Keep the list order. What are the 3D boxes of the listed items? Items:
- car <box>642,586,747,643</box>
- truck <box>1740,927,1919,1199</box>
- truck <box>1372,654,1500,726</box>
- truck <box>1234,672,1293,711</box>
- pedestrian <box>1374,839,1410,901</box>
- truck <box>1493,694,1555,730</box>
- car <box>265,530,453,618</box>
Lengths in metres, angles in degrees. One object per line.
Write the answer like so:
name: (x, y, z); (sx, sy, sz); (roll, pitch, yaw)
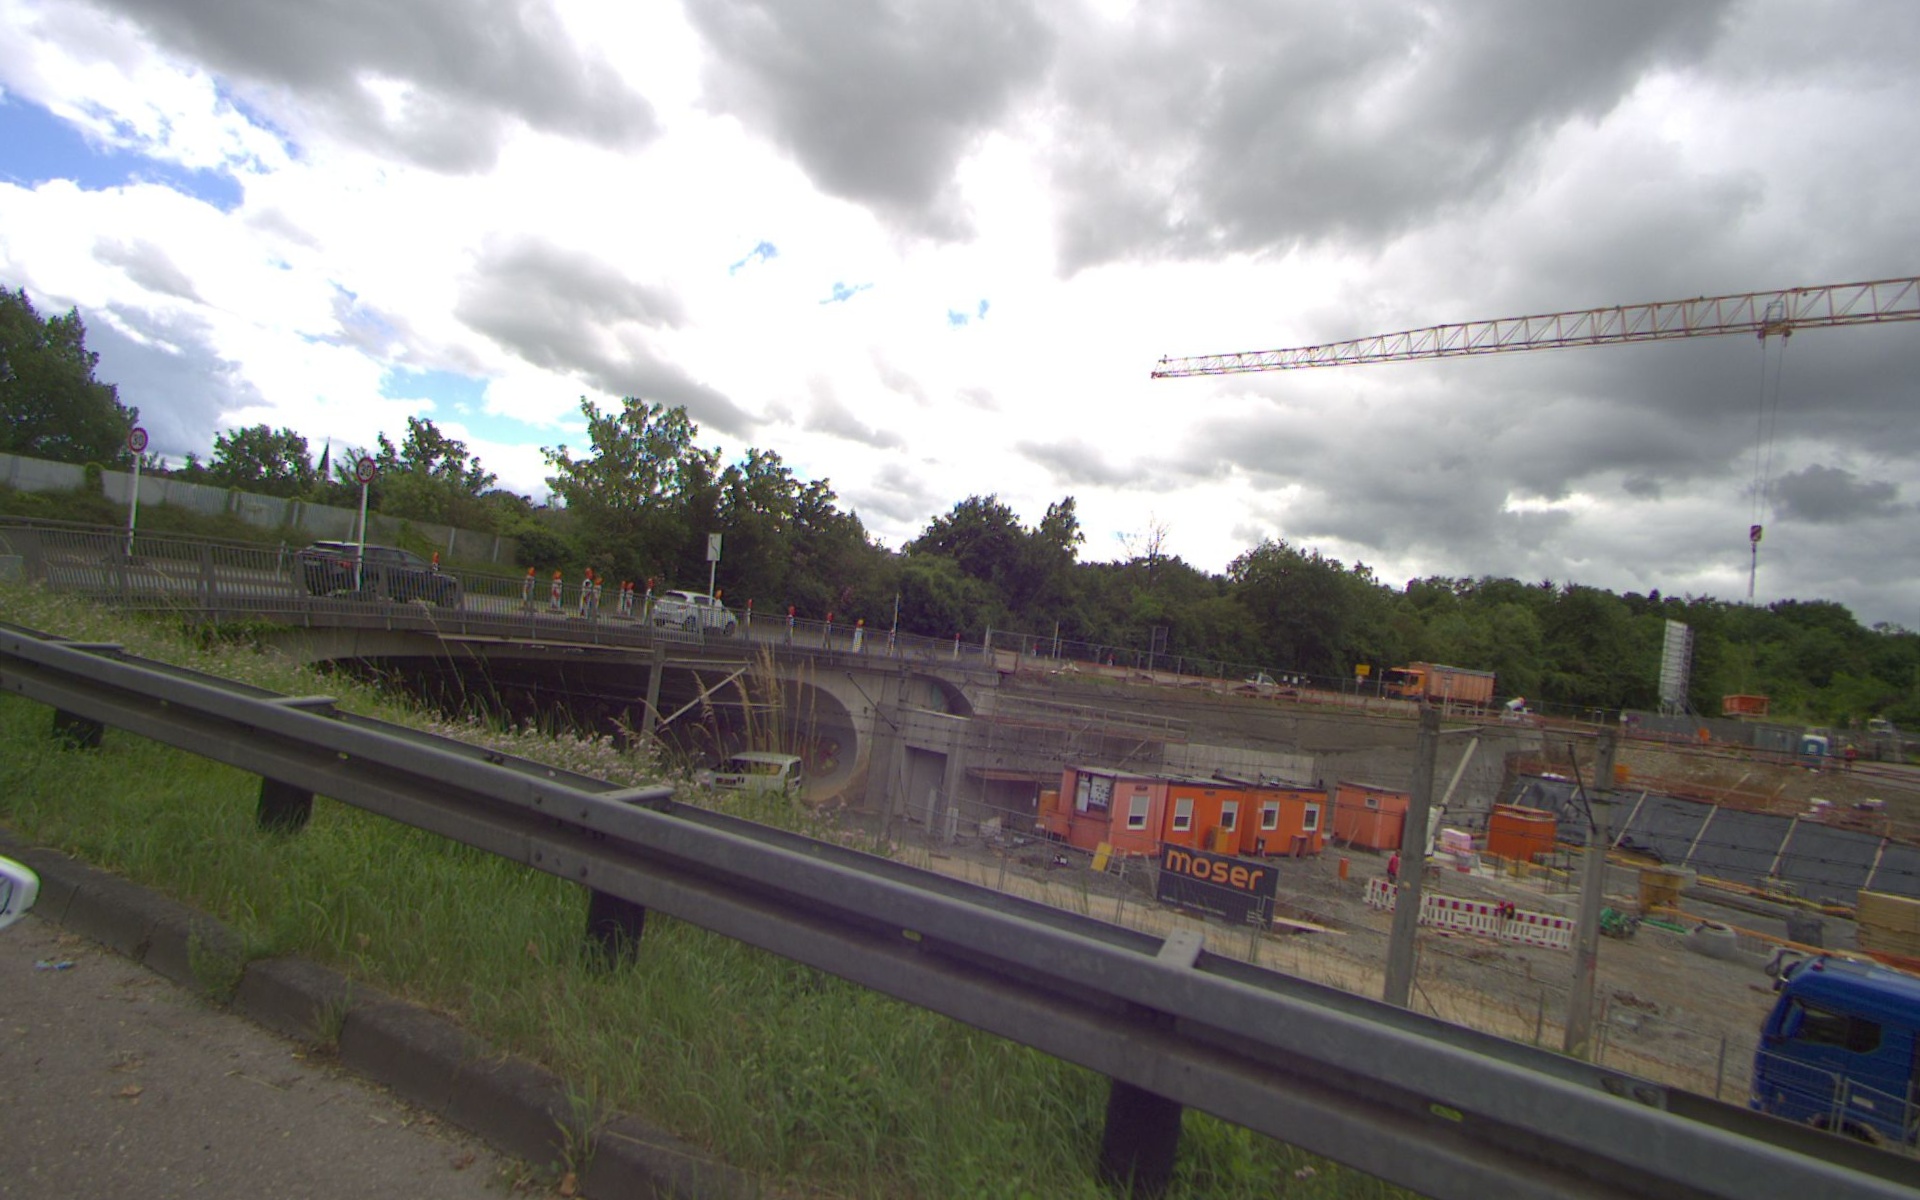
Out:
car: (-10.317, 0.614, 39.411); (1.686, 1.693, 4.003); (6, -4, 24)
truck: (19.533, 8.941, 15.307); (2.831, 3.938, 11.475); (10, -1, -43)
truck: (37.391, 7.093, 78.991); (9.667, 4.269, 3.105); (9, -1, -23)
truck: (20.478, 6.158, 67.857); (3.186, 2.034, 1.734); (11, -4, -20)
pedestrian: (15.419, 9.632, 35.906); (0.800, 2.033, 0.695); (14, -6, -42)
truck: (43.578, 8.641, 77.769); (3.951, 2.034, 1.991); (11, -4, -22)
car: (-15.502, -0.605, 26.184); (1.791, 1.568, 3.797); (8, -4, 17)
